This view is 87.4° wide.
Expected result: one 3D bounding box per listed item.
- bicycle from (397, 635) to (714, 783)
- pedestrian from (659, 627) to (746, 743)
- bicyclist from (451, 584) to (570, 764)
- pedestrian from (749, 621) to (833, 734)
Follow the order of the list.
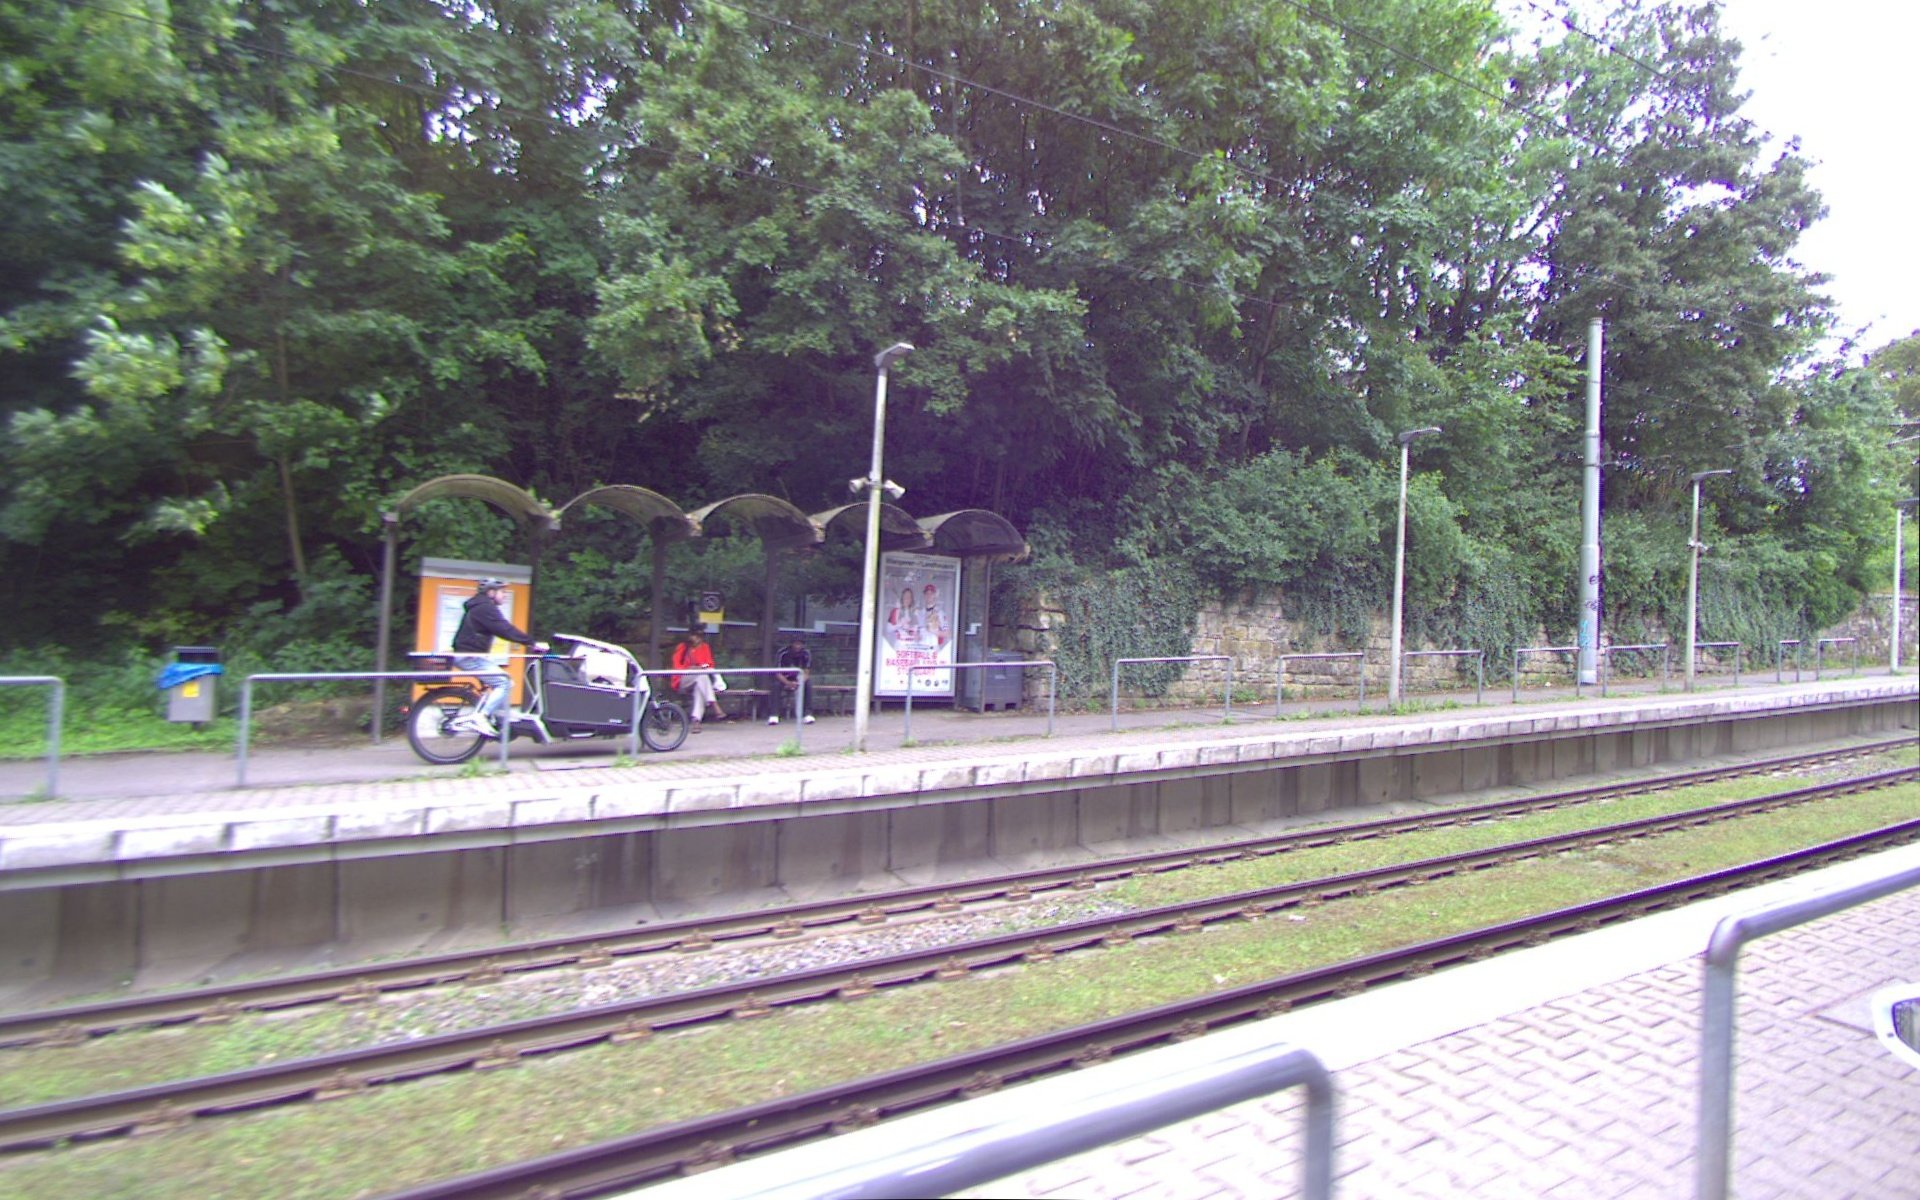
[{"bbox_3d":[-3.953,1.013,9.992,2.829,1.257,0.748,0,1,-26],"label":"bicycle"},{"bbox_3d":[-3.185,1.023,12.391,0.767,1.340,0.815,2,0,-36],"label":"pedestrian"},{"bbox_3d":[-4.374,0.676,9.769,1.019,1.650,0.702,0,1,-27],"label":"bicyclist"},{"bbox_3d":[-2.198,0.982,13.050,0.767,1.393,0.815,2,0,-36],"label":"pedestrian"}]
